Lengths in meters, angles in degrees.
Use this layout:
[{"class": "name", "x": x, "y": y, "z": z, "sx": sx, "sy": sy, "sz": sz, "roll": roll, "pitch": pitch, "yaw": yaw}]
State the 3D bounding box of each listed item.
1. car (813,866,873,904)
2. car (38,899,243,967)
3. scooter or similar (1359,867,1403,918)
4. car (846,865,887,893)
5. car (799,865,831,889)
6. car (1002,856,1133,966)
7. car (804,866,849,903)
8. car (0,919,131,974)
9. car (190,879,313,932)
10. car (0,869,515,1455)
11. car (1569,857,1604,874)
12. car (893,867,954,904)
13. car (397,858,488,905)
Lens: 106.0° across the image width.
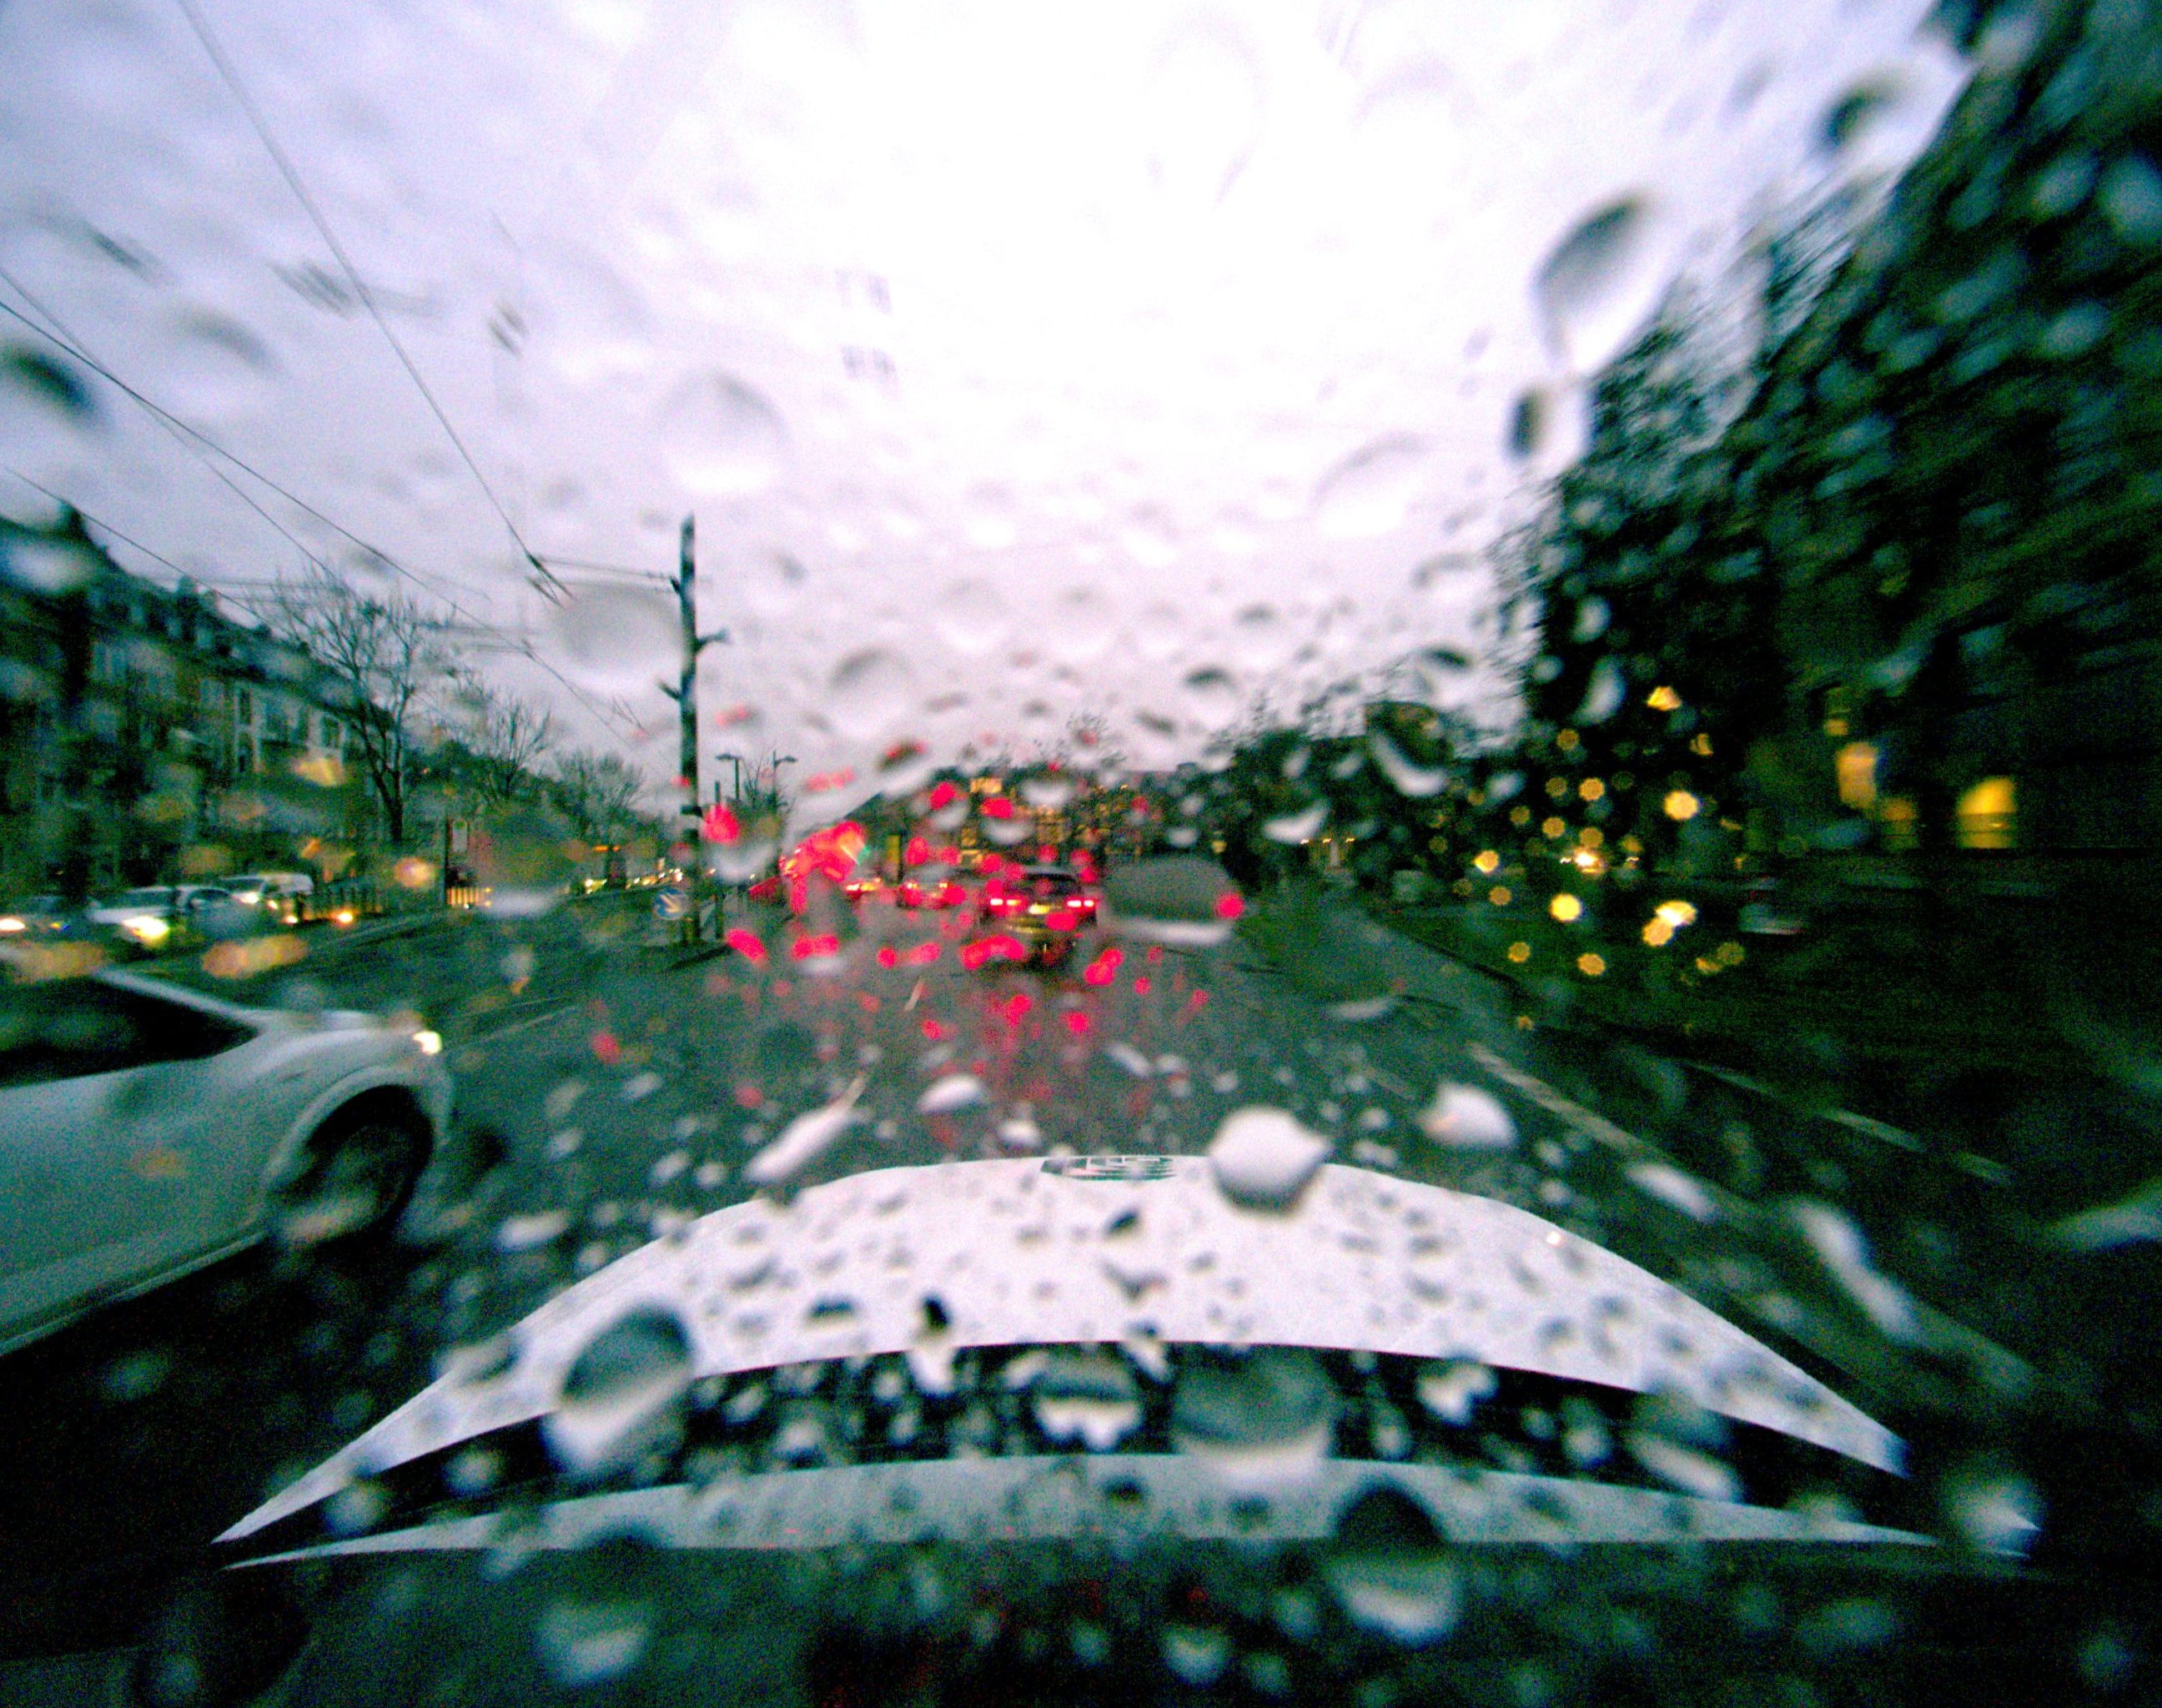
[{"class": "car", "x": -9.789, "y": 1.228, "z": 33.270, "sx": 2.001, "sy": 1.398, "sz": 3.971, "roll": -1, "pitch": 0, "yaw": -21}, {"class": "car", "x": -22.624, "y": 1.826, "z": 19.827, "sx": 1.542, "sy": 1.245, "sz": 4.057, "roll": -1, "pitch": 0, "yaw": -22}, {"class": "scooter or similar", "x": 7.666, "y": 0.971, "z": 20.803, "sx": 1.151, "sy": 1.232, "sz": 0.482, "roll": -1, "pitch": -1, "yaw": -38}, {"class": "car", "x": -13.577, "y": 1.561, "z": 51.377, "sx": 2.001, "sy": 1.618, "sz": 3.971, "roll": -1, "pitch": 0, "yaw": -21}, {"class": "car", "x": -19.438, "y": 1.646, "z": 59.419, "sx": 2.001, "sy": 1.618, "sz": 3.971, "roll": -1, "pitch": 0, "yaw": -21}, {"class": "car", "x": -0.313, "y": 0.882, "z": 14.492, "sx": 1.987, "sy": 1.616, "sz": 3.995, "roll": -1, "pitch": 0, "yaw": -3}, {"class": "car", "x": -13.522, "y": 1.563, "z": 43.117, "sx": 2.001, "sy": 1.765, "sz": 3.971, "roll": -1, "pitch": 0, "yaw": -21}, {"class": "car", "x": -30.162, "y": 2.655, "z": 23.673, "sx": 1.542, "sy": 1.226, "sz": 4.058, "roll": -1, "pitch": 0, "yaw": -21}, {"class": "car", "x": -34.048, "y": 2.049, "z": 33.599, "sx": 2.000, "sy": 1.940, "sz": 3.916, "roll": -1, "pitch": 0, "yaw": -20}, {"class": "car", "x": -3.640, "y": 0.839, "z": 1.992, "sx": 1.620, "sy": 1.487, "sz": 4.001, "roll": -1, "pitch": 0, "yaw": 1}, {"class": "car", "x": 37.245, "y": 0.820, "z": 60.078, "sx": 1.652, "sy": 1.181, "sz": 3.729, "roll": -2, "pitch": 0, "yaw": 24}, {"class": "car", "x": -6.703, "y": 1.271, "z": 34.383, "sx": 2.000, "sy": 1.408, "sz": 3.974, "roll": -1, "pitch": 0, "yaw": -19}, {"class": "car", "x": -33.844, "y": 1.405, "z": 43.357, "sx": 1.999, "sy": 2.309, "sz": 5.235, "roll": -1, "pitch": 0, "yaw": -17}]
